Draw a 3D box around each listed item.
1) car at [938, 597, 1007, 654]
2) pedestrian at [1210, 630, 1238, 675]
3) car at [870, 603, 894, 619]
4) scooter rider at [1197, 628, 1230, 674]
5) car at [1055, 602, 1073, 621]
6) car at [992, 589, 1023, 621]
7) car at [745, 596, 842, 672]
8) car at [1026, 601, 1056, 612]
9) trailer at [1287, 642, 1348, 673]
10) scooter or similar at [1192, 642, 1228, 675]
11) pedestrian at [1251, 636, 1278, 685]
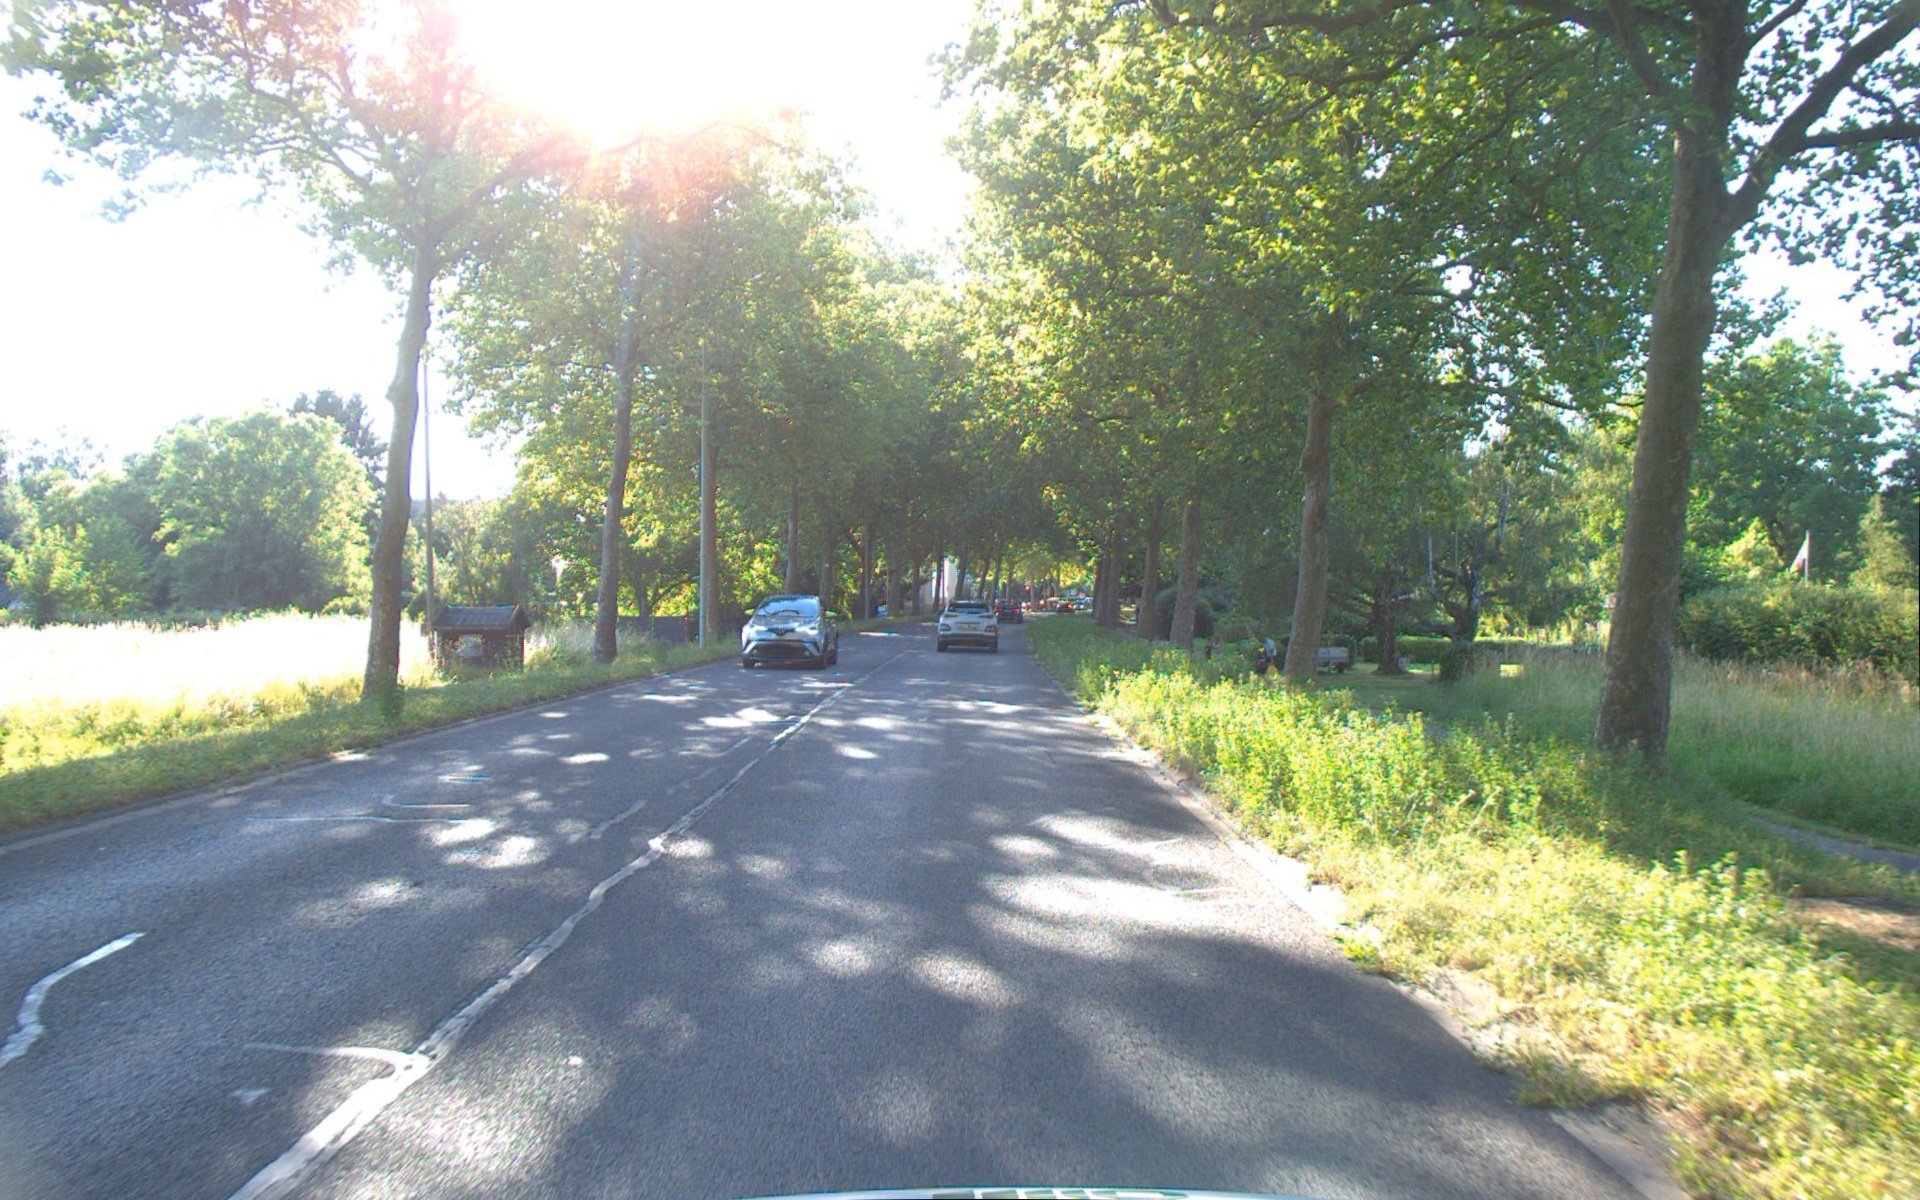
[{"bbox_3d":[0.384,0.744,49.781,1.952,1.602,4.000,1,-1,1],"label":"car"},{"bbox_3d":[9.614,1.888,60.188,0.767,1.604,0.844,1,-1,28],"label":"pedestrian"},{"bbox_3d":[-6.741,0.940,143.918,1.715,1.327,4.002,-1,1,2],"label":"car"},{"bbox_3d":[9.026,1.819,58.845,0.837,1.604,0.773,2,-1,-41],"label":"scooter rider"},{"bbox_3d":[11.666,1.303,184.757,1.952,2.049,4.002,1,-1,4],"label":"car"},{"bbox_3d":[3.206,0.341,110.464,1.952,2.049,4.001,1,-1,2],"label":"car"},{"bbox_3d":[-3.583,0.735,36.211,1.680,1.531,3.999,1,-1,0],"label":"car"},{"bbox_3d":[11.201,0.908,228.690,3.902,1.504,2.001,1,-1,9],"label":"car"},{"bbox_3d":[13.398,2.151,62.036,2.073,1.071,1.201,1,-1,6],"label":"trailer"},{"bbox_3d":[8.867,2.084,58.691,1.586,1.155,0.335,2,-1,-43],"label":"scooter or similar"},{"bbox_3d":[10.259,2.031,55.750,0.824,1.604,1.208,1,-1,10],"label":"pedestrian"}]
